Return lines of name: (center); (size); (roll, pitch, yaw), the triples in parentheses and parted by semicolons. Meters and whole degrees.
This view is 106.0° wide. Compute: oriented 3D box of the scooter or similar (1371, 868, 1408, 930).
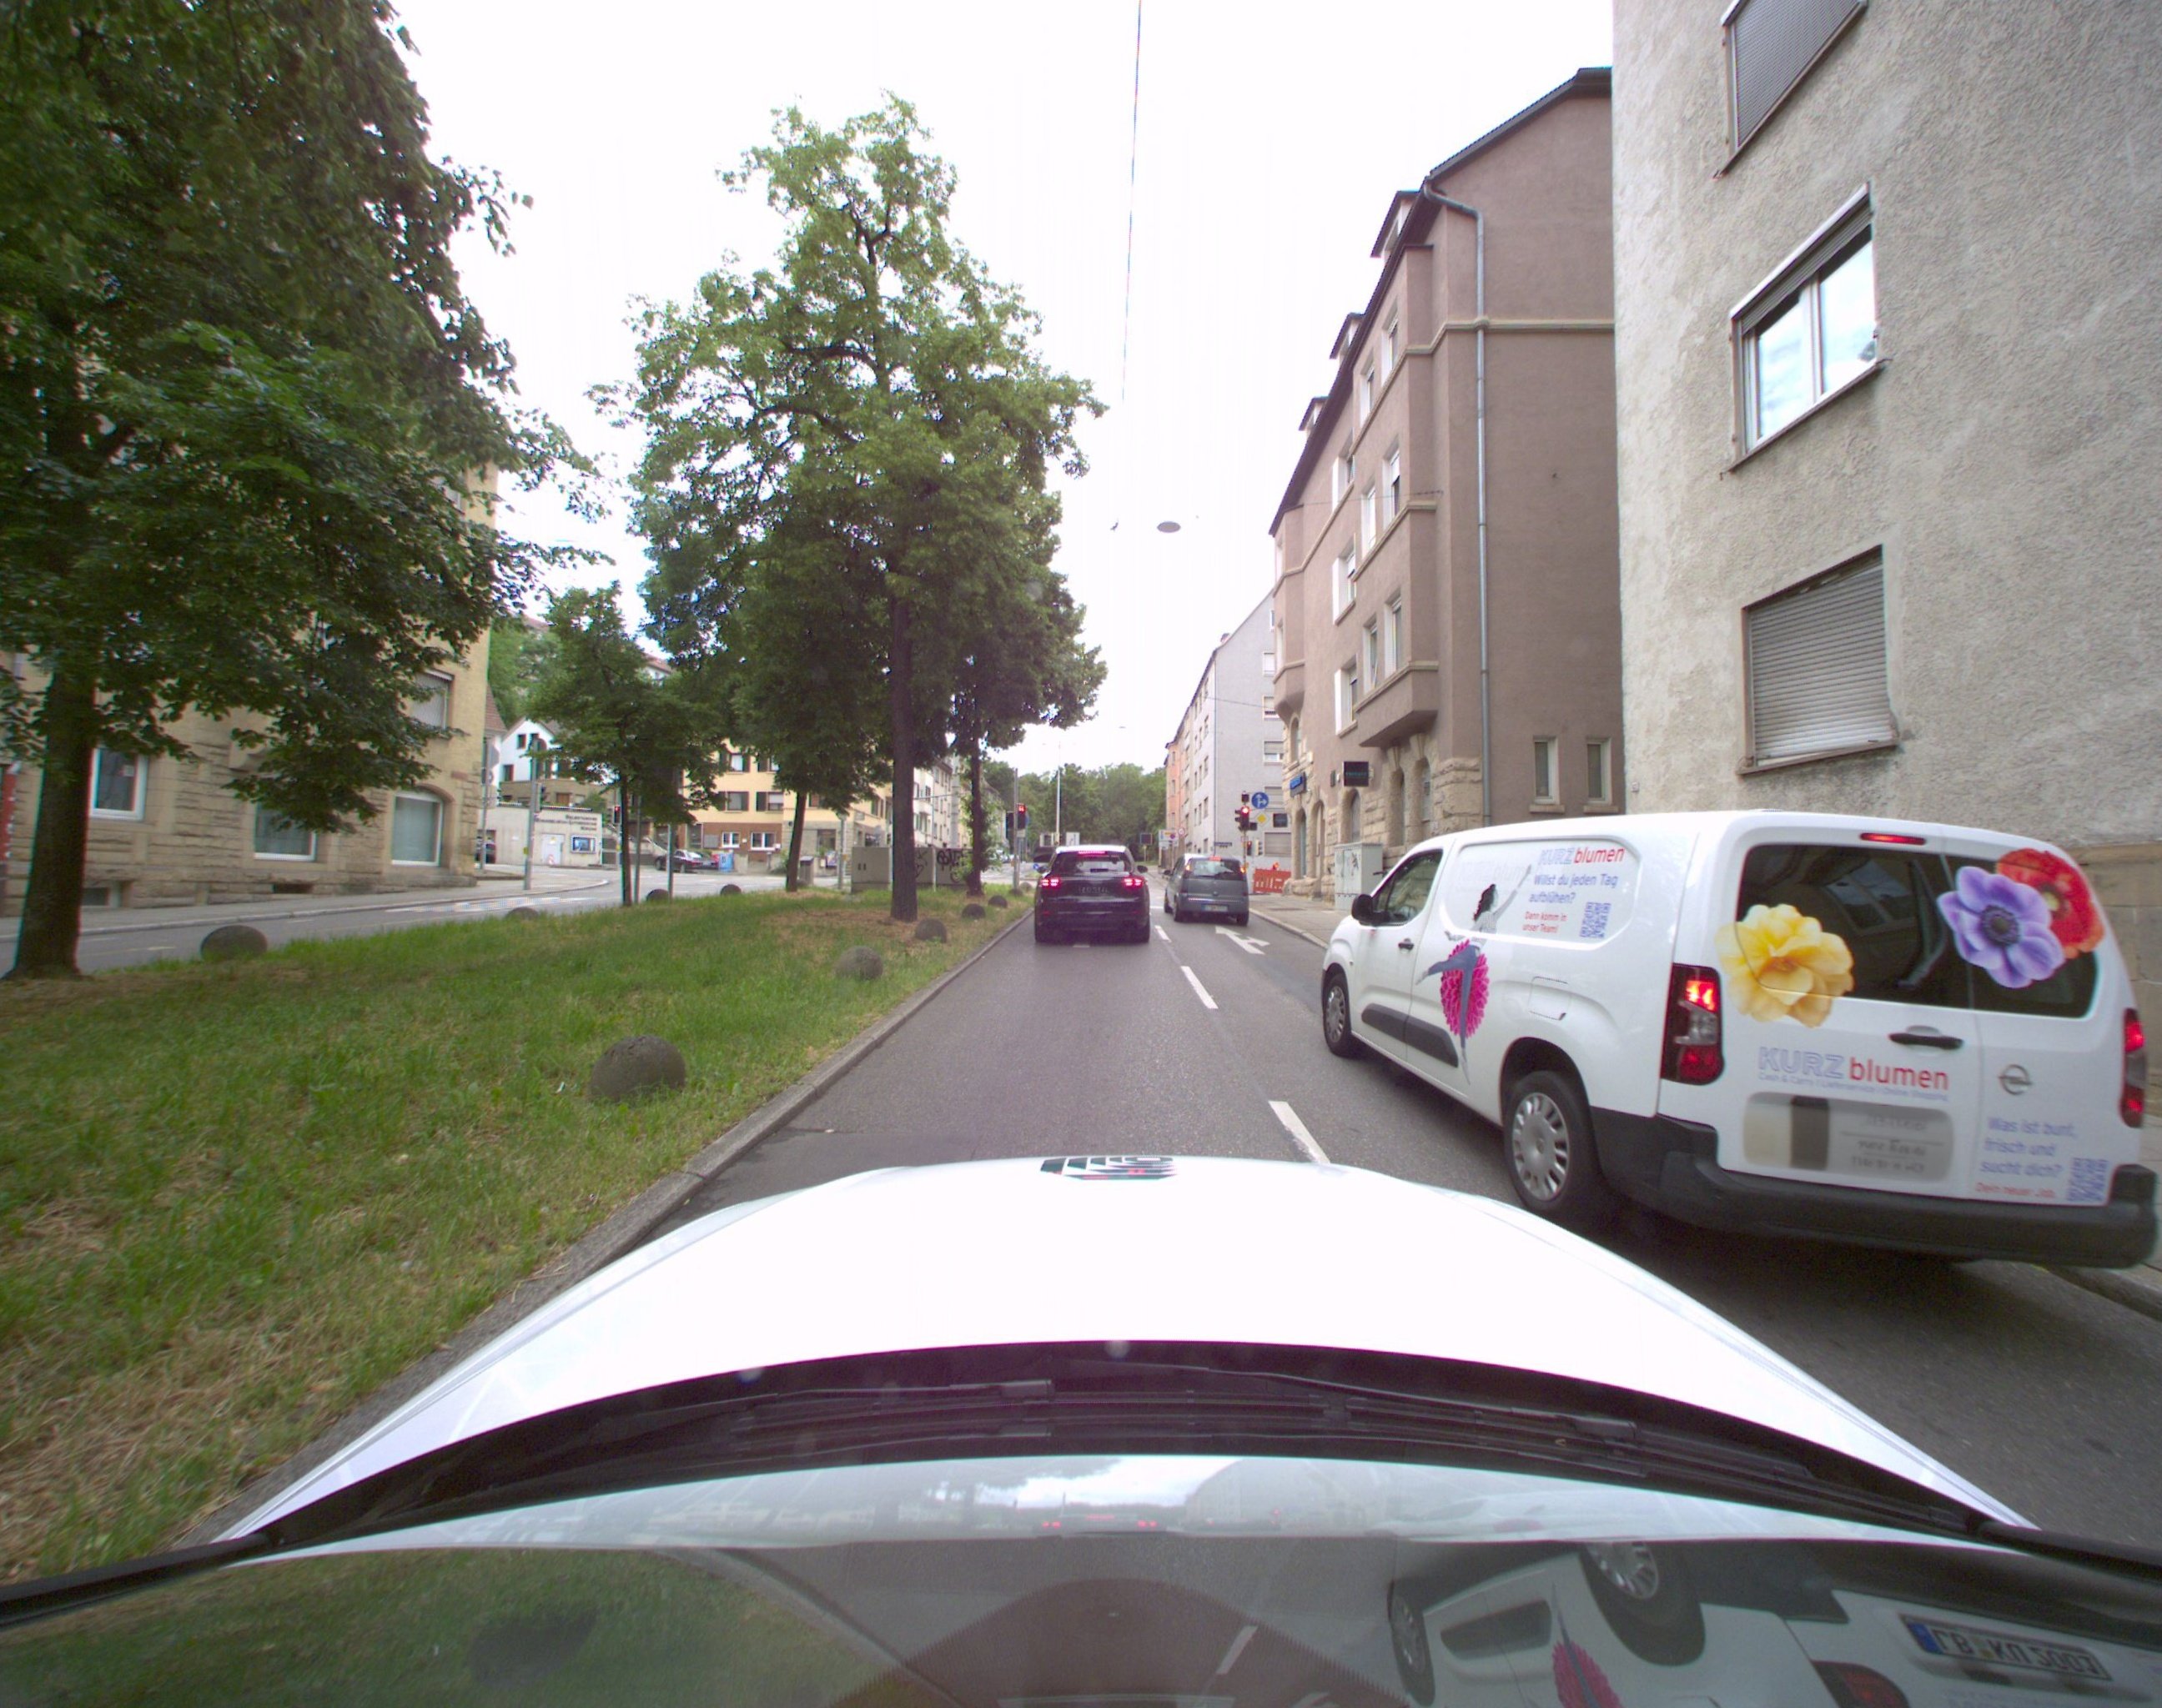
scooter or similar: (6.517, 0.926, 17.259); (0.399, 1.188, 1.357); (-1, 1, 6)

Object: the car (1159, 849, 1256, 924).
car: (2.977, 0.720, 19.868); (1.746, 1.593, 3.630); (3, 0, 0)

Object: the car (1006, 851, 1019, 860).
car: (-11.528, 0.211, 137.450); (1.788, 1.510, 4.000); (1, 0, 0)

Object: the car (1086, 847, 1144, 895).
car: (1.275, 0.606, 30.051); (1.986, 1.653, 4.002); (0, -1, 3)

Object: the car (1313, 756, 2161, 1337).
car: (2.900, 0.665, 5.195); (1.840, 1.825, 5.028); (2, -1, 6)

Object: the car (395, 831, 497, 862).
car: (-32.757, -0.354, 42.074); (4.021, 1.510, 1.779); (1, 0, -42)

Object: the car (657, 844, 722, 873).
car: (-24.222, 0.299, 50.314); (3.948, 1.665, 1.894); (-1, -2, 35)

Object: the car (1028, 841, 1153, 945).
car: (0.244, 0.602, 15.033); (1.986, 1.652, 4.003); (0, 1, 3)
